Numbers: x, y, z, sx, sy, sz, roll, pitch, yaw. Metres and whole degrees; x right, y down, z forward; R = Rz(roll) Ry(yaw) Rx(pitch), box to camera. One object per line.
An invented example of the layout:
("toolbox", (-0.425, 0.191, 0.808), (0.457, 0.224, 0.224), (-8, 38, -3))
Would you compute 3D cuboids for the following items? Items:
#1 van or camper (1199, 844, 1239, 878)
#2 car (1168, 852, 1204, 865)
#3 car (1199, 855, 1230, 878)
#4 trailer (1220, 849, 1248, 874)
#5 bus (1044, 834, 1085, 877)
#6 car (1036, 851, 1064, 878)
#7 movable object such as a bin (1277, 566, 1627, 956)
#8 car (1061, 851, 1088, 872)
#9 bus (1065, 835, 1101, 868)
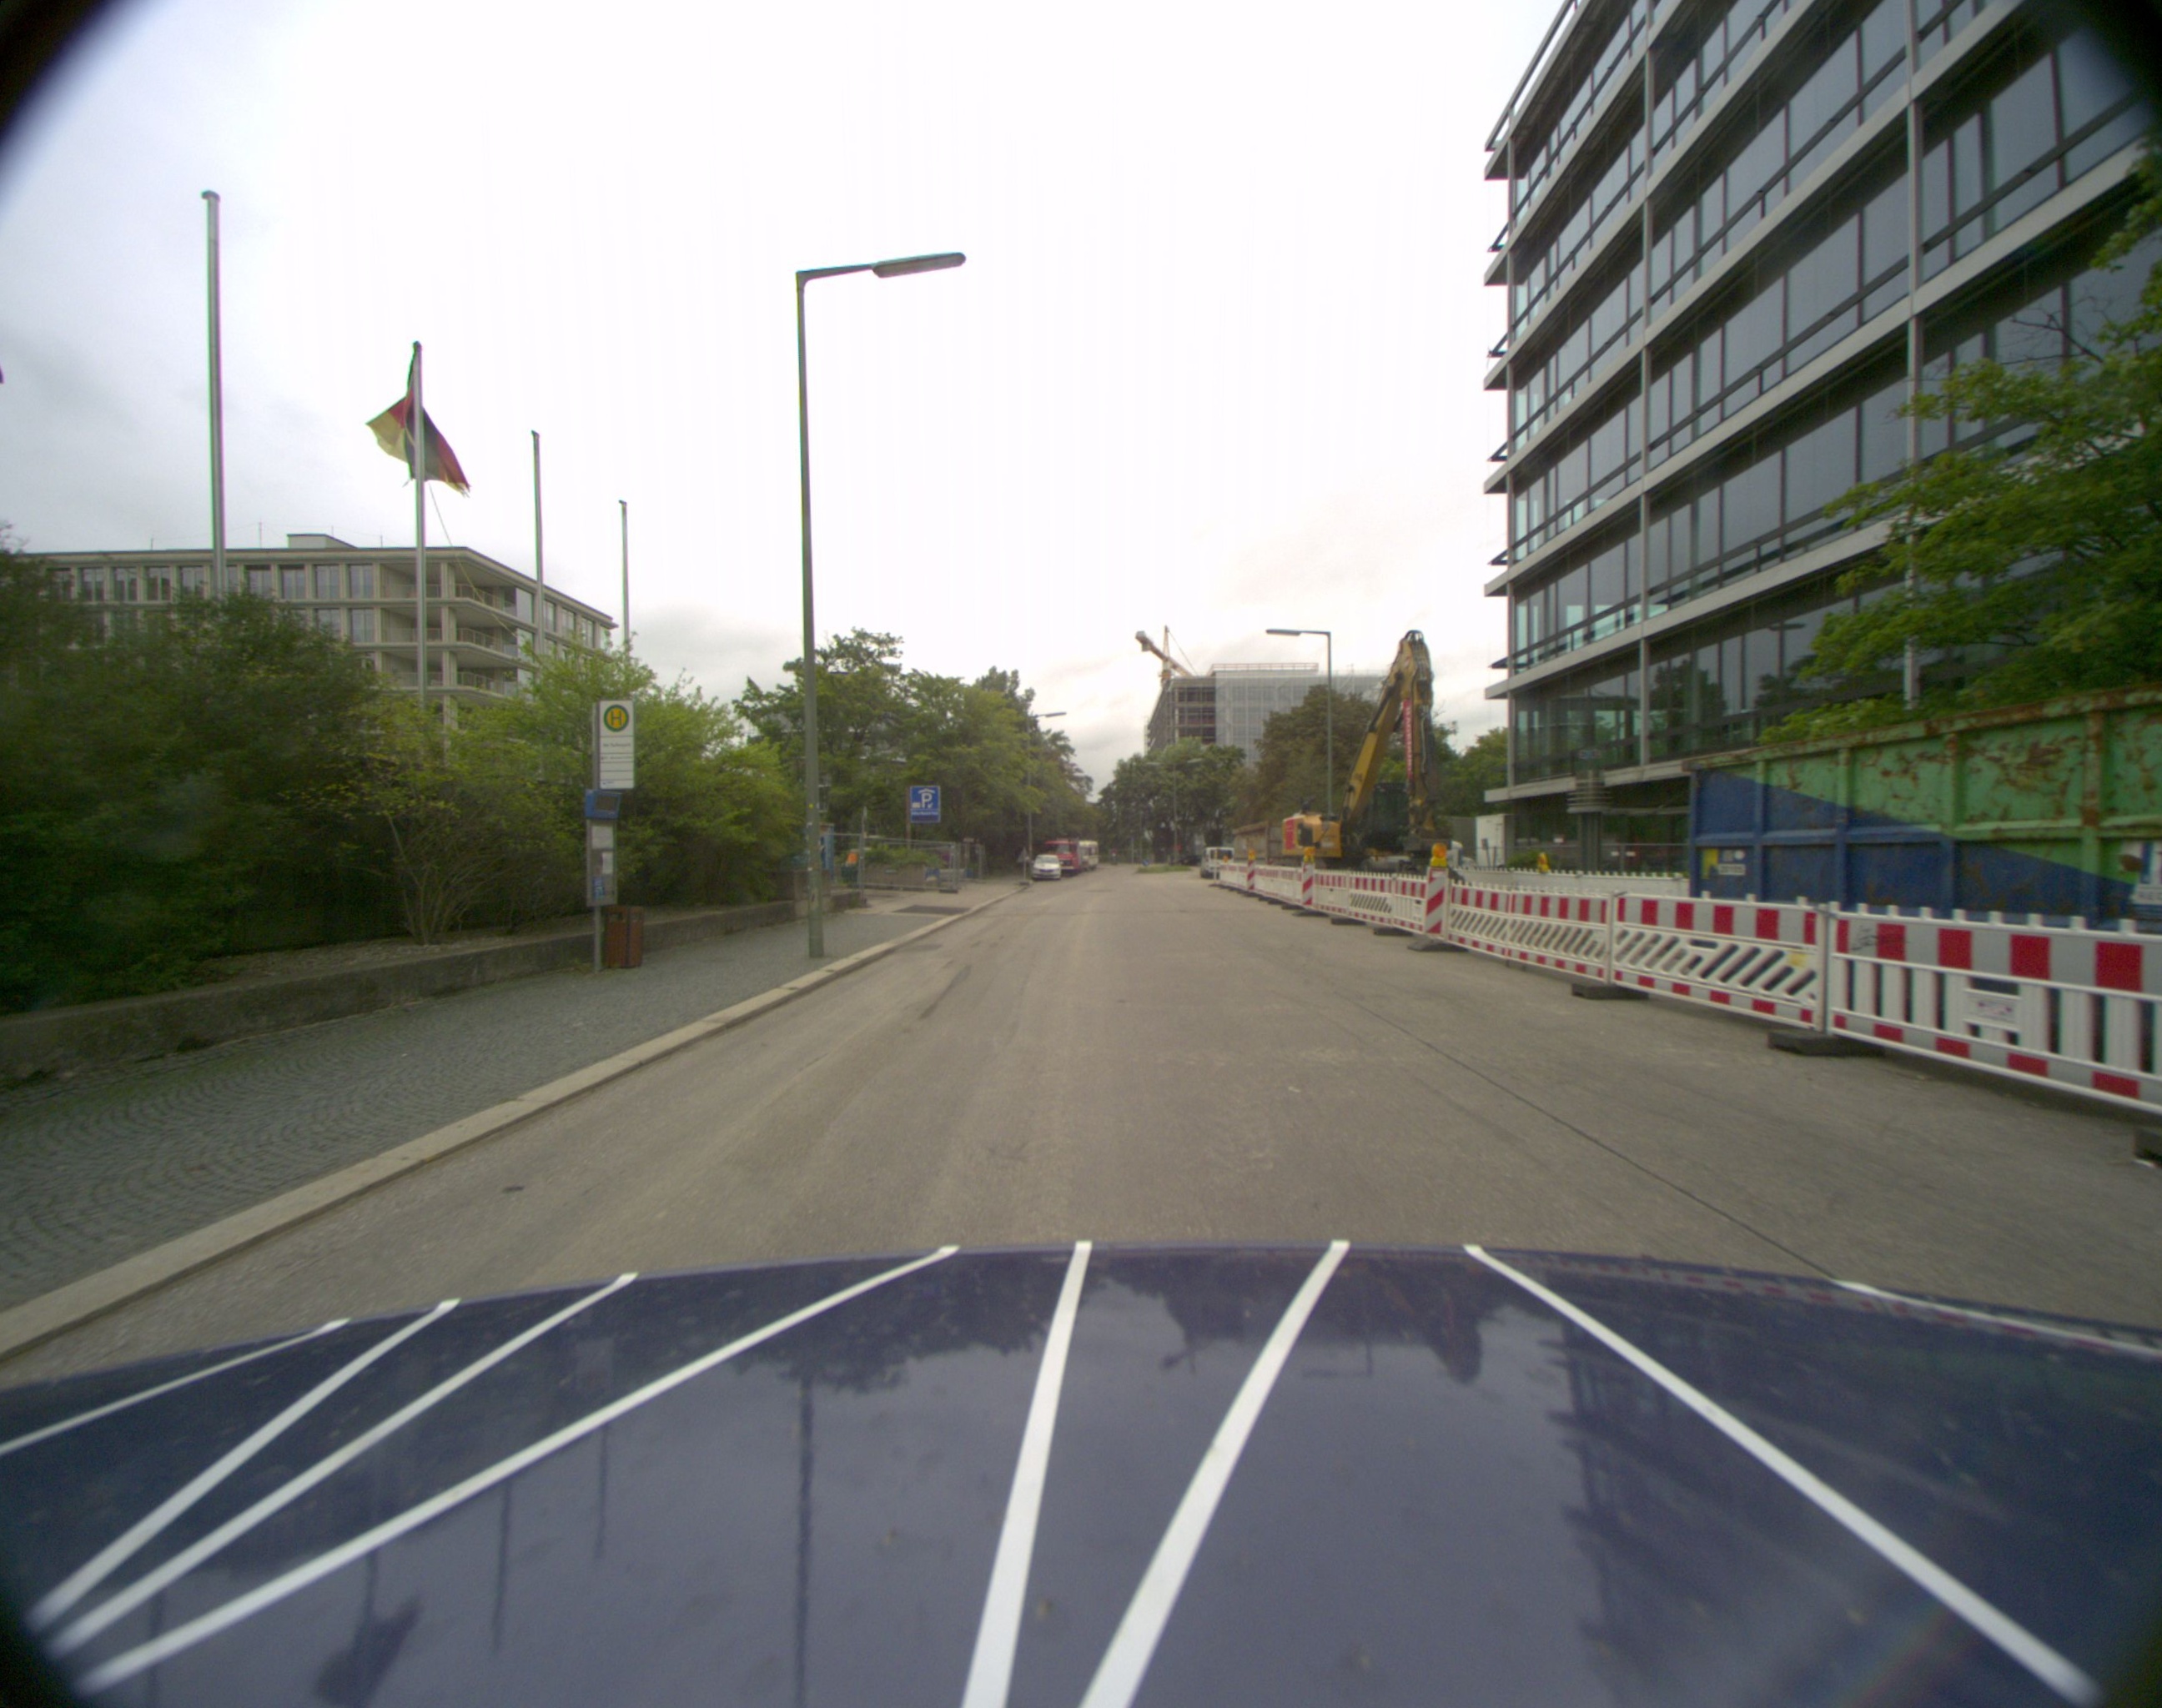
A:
("van or camper", (8.838, 0.460, 49.008), (1.993, 2.022, 5.589), (1, 0, 5))
("car", (12.482, 0.527, 90.640), (3.891, 1.564, 1.786), (0, 2, -21))
("car", (9.551, 0.865, 54.635), (1.997, 1.450, 4.122), (2, 1, 8))
("trailer", (13.850, 0.676, 68.691), (1.778, 2.169, 2.782), (2, 1, 28))
("bus", (-1.052, 0.076, 52.666), (2.077, 2.789, 6.274), (0, 0, 6))
("car", (-1.841, 0.600, 45.997), (1.536, 1.483, 4.059), (0, 1, -1))
("movable object such as a bin", (7.750, -1.612, 18.666), (2.911, 6.526, 11.783), (0, 1, 1))
("car", (-0.487, 0.570, 59.165), (1.782, 1.630, 4.399), (0, 0, 4))
("bus", (0.227, -0.212, 66.414), (2.076, 2.714, 5.871), (0, 0, 10))
